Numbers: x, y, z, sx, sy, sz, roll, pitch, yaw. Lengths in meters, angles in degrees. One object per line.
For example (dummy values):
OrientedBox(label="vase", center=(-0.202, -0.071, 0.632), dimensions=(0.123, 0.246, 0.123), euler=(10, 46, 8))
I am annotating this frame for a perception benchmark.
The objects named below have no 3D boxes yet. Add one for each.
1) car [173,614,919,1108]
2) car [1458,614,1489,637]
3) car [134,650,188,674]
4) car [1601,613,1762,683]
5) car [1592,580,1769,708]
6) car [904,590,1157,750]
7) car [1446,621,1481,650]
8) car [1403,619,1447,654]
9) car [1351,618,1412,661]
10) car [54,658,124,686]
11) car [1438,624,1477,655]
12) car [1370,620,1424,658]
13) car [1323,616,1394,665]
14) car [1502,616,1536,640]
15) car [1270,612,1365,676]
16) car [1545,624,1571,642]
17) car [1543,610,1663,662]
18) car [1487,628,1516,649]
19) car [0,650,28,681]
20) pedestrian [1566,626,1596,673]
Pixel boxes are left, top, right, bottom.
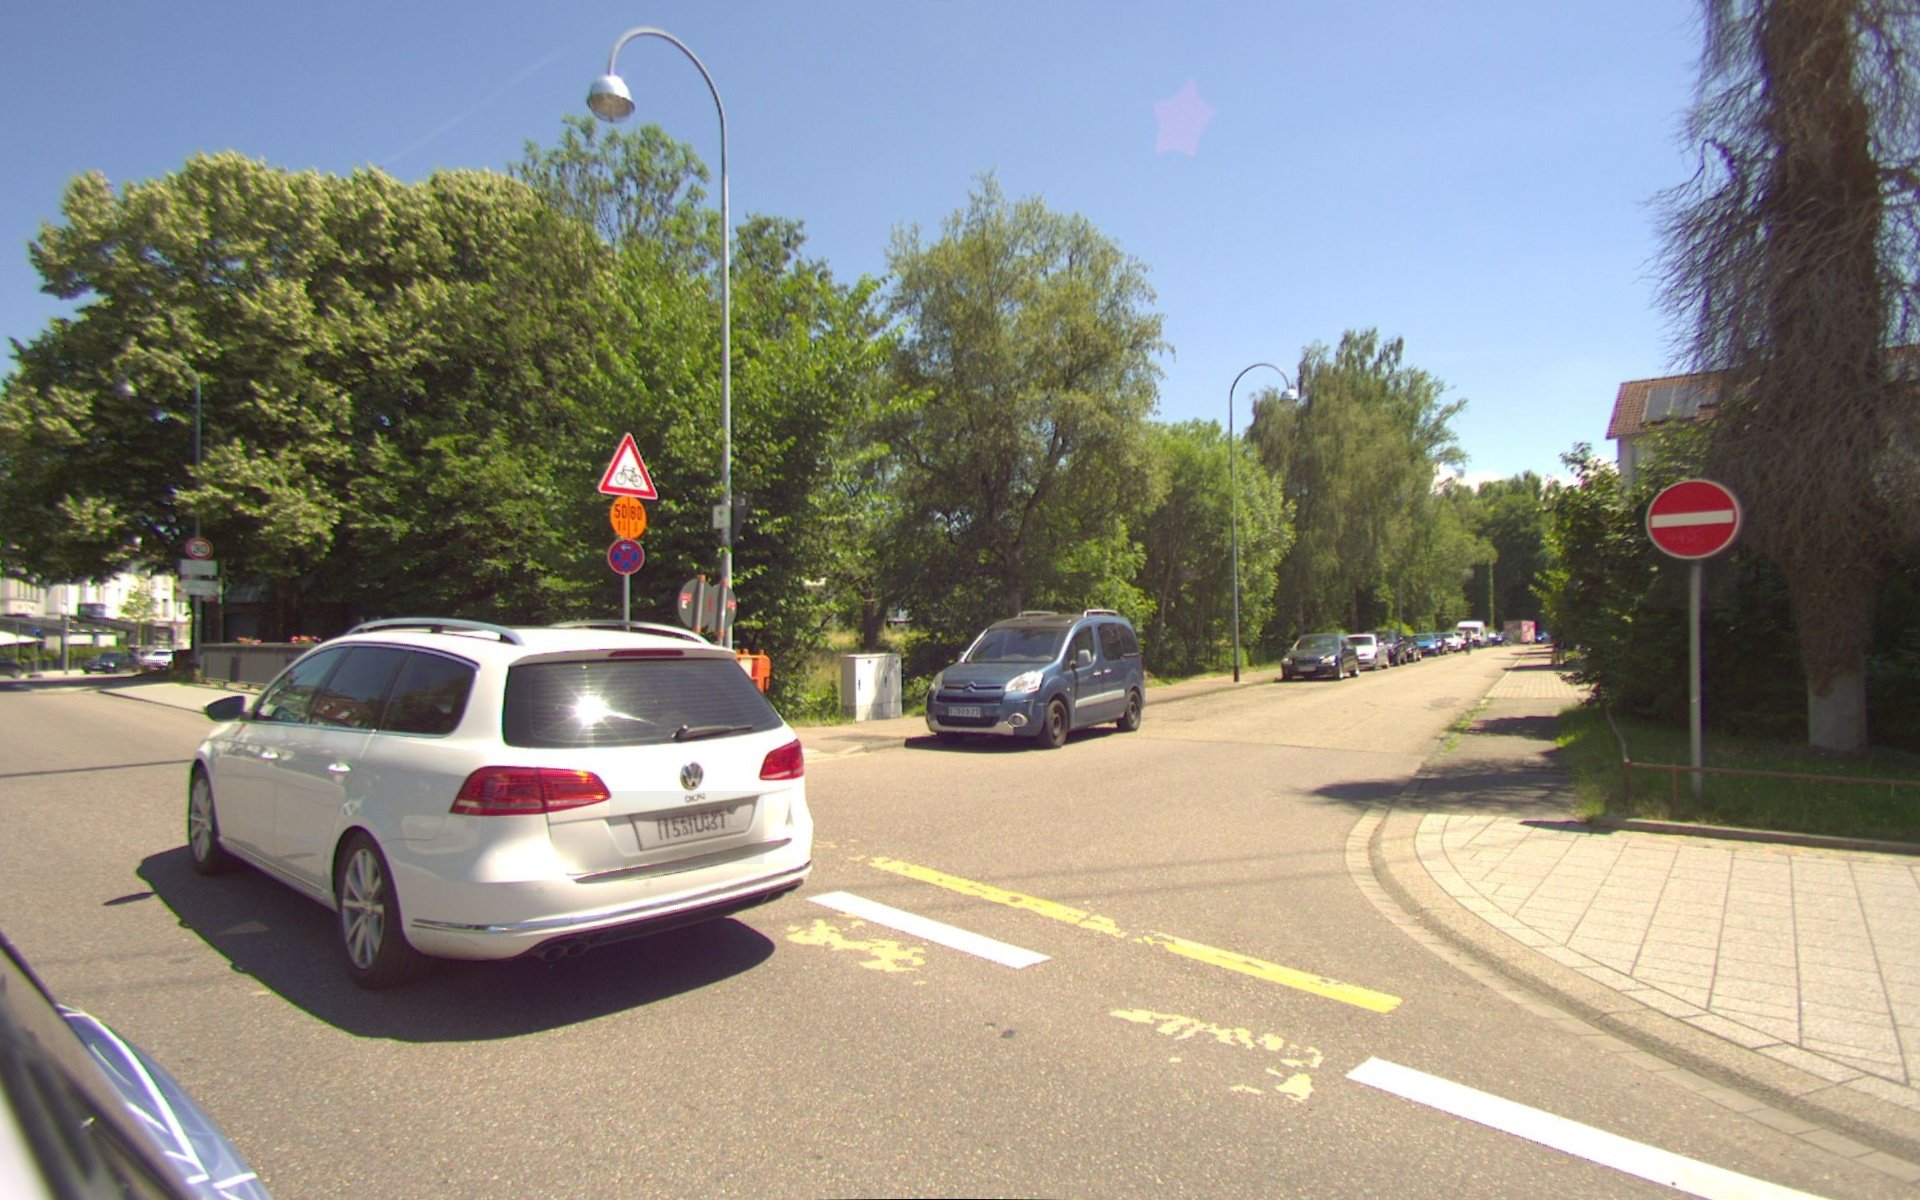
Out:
OrientedBox(label="car", center=(-2.441, 0.888, 5.326), dimensions=(4.287, 1.518, 1.972), euler=(-3, -2, 42))
OrientedBox(label="car", center=(47.043, 2.364, 92.619), dimensions=(1.995, 2.029, 3.953), euler=(-2, -2, 34))
OrientedBox(label="car", center=(-59.028, 4.551, 74.825), dimensions=(1.965, 1.697, 4.013), euler=(1, -2, -20))
OrientedBox(label="car", center=(22.679, 1.465, 31.882), dimensions=(3.996, 2.029, 1.974), euler=(-2, -1, 39))
OrientedBox(label="car", center=(13.005, 0.781, 18.182), dimensions=(2.000, 2.029, 3.942), euler=(-3, -4, 44))
OrientedBox(label="car", center=(1.172, 0.934, 14.296), dimensions=(1.812, 1.888, 4.393), euler=(-3, -3, 30))
OrientedBox(label="car", center=(36.395, 2.525, 73.113), dimensions=(1.993, 2.029, 3.958), euler=(-1, -2, 31))
OrientedBox(label="car", center=(28.273, 2.205, 61.465), dimensions=(1.993, 2.029, 3.958), euler=(-1, -2, 31))
OrientedBox(label="car", center=(18.910, 1.743, 45.277), dimensions=(1.992, 1.815, 4.393), euler=(-1, -2, 30))
OrientedBox(label="car", center=(-57.582, 4.757, 66.885), dimensions=(3.976, 1.729, 1.984), euler=(-3, -4, 24))
OrientedBox(label="car", center=(33.412, 2.632, 67.922), dimensions=(1.993, 2.029, 3.958), euler=(-1, -2, 31))
OrientedBox(label="car", center=(21.825, 1.941, 50.453), dimensions=(1.992, 1.815, 4.393), euler=(-1, -2, 30))
OrientedBox(label="car", center=(15.708, 1.583, 39.790), dimensions=(1.992, 1.815, 4.393), euler=(-1, -2, 30))
OrientedBox(label="car", center=(60.276, 3.001, 109.104), dimensions=(2.129, 2.392, 4.672), euler=(-2, -1, 42))
OrientedBox(label="car", center=(11.218, 1.371, 31.599), dimensions=(1.992, 1.815, 4.393), euler=(-3, -3, 30))
OrientedBox(label="car", center=(69.062, 3.829, 116.810), dimensions=(1.998, 2.029, 3.948), euler=(-2, -2, 39))
OrientedBox(label="car", center=(23.924, 1.355, 37.683), dimensions=(3.545, 1.802, 1.539), euler=(-4, -3, 39))
OrientedBox(label="car", center=(53.602, 3.771, 100.165), dimensions=(1.996, 2.029, 3.951), euler=(-2, -2, 36))
OrientedBox(label="car", center=(-54.806, 3.695, 56.448), dimensions=(1.971, 1.729, 4.001), euler=(-1, -3, -2))
OrientedBox(label="pedestrian", center=(20.473, 1.619, 33.355), dimensions=(0.695, 1.523, 0.722), euler=(-2, -2, 42))
